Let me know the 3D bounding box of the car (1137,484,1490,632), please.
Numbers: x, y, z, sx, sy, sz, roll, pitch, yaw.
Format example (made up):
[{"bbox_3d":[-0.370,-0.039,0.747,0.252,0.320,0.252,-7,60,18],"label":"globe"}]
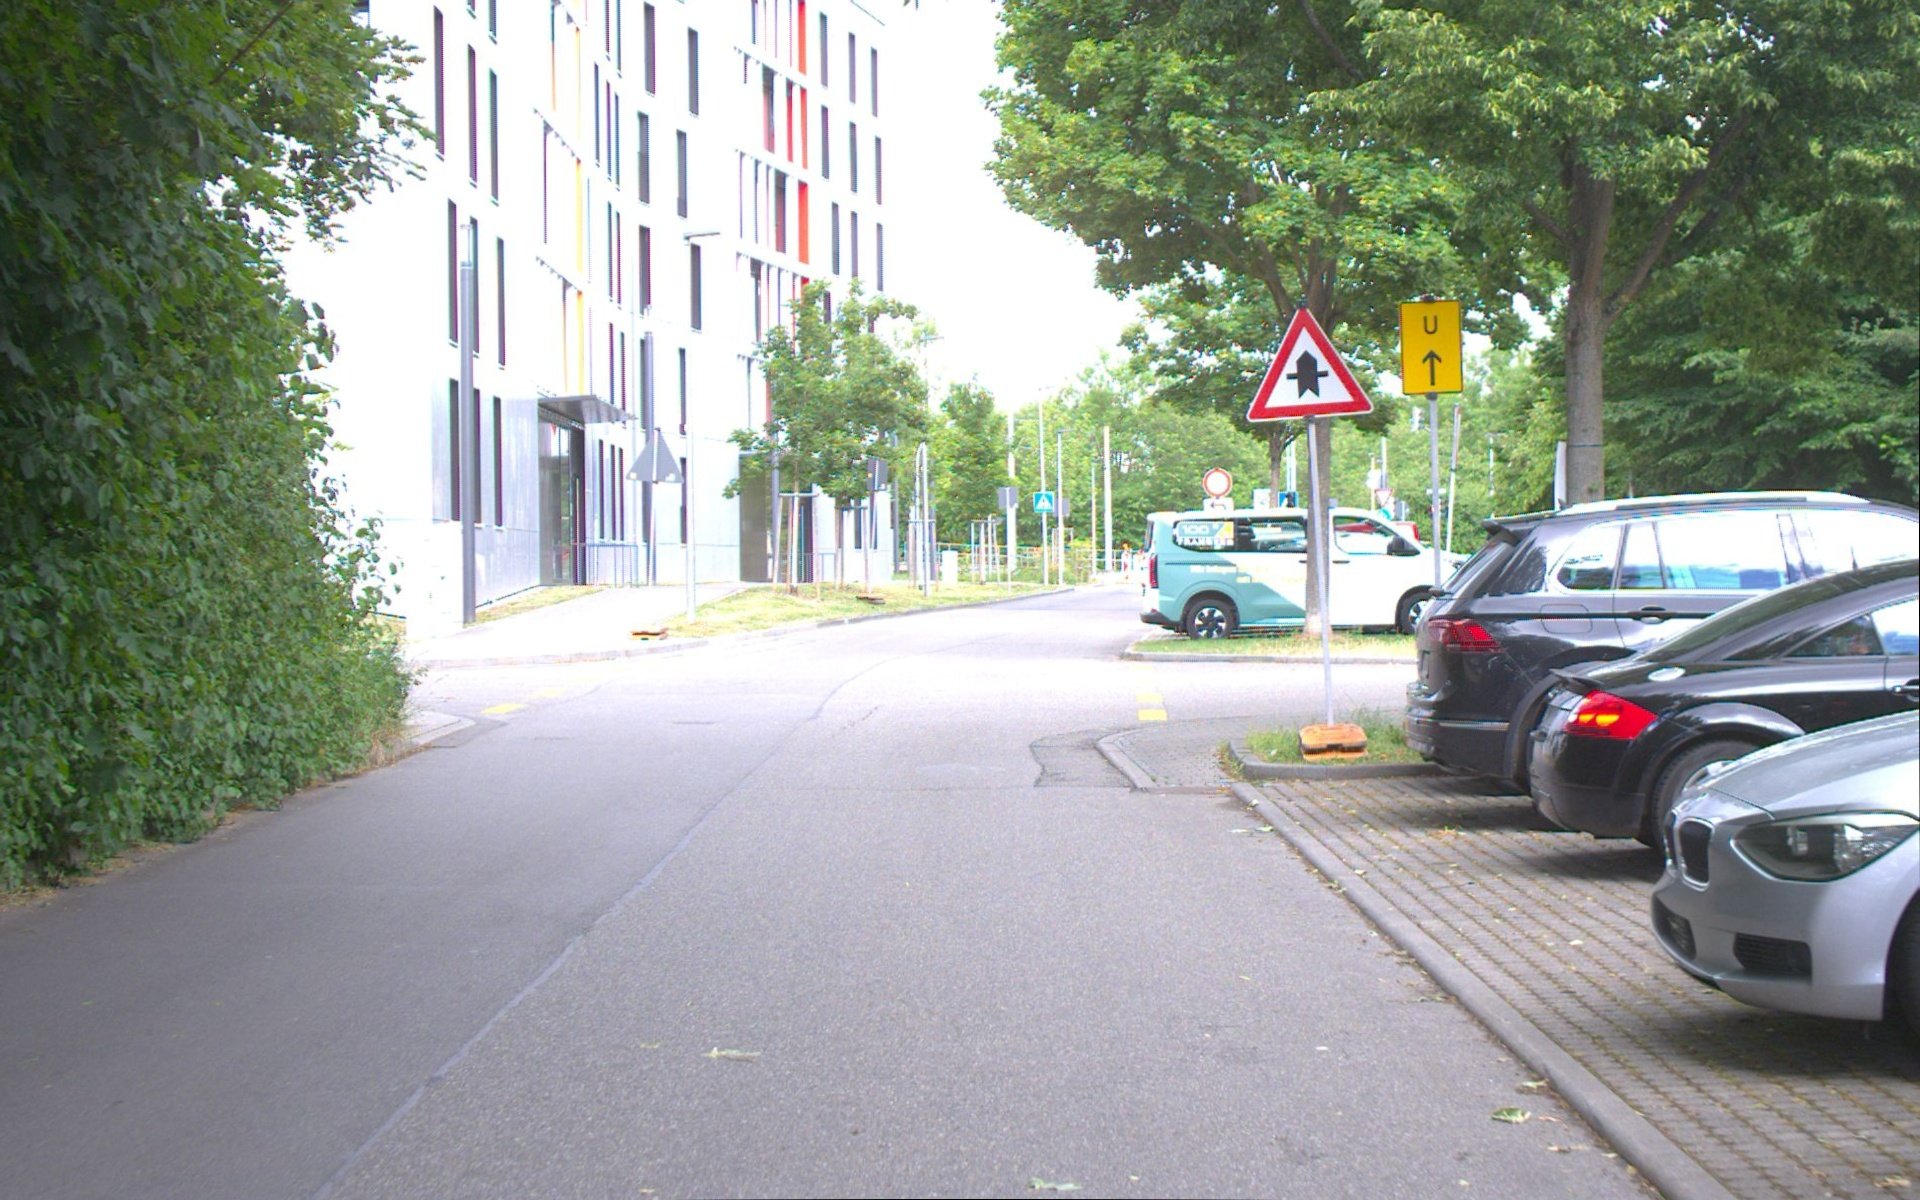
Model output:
[{"bbox_3d":[5.138,-0.623,50.502,4.972,1.965,1.847,-2,1,2],"label":"car"}]

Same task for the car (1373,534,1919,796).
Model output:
[{"bbox_3d":[4.473,0.347,20.396,3.832,1.398,1.852,-2,0,2],"label":"car"}]

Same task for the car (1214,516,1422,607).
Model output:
[{"bbox_3d":[7.671,-0.841,73.843,4.379,1.897,1.936,1,1,6],"label":"car"}]

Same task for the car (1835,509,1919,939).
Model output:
[{"bbox_3d":[5.365,0.388,12.554,3.832,1.553,1.819,-2,0,0],"label":"car"}]

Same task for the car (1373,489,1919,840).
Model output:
[{"bbox_3d":[4.281,0.287,17.783,4.124,1.644,1.980,-2,0,4],"label":"car"}]

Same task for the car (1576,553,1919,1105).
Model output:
[{"bbox_3d":[3.975,0.543,9.979,3.987,1.425,1.935,-2,0,0],"label":"car"}]

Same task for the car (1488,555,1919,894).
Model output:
[{"bbox_3d":[4.340,0.479,15.074,3.833,1.354,1.822,-2,0,4],"label":"car"}]
